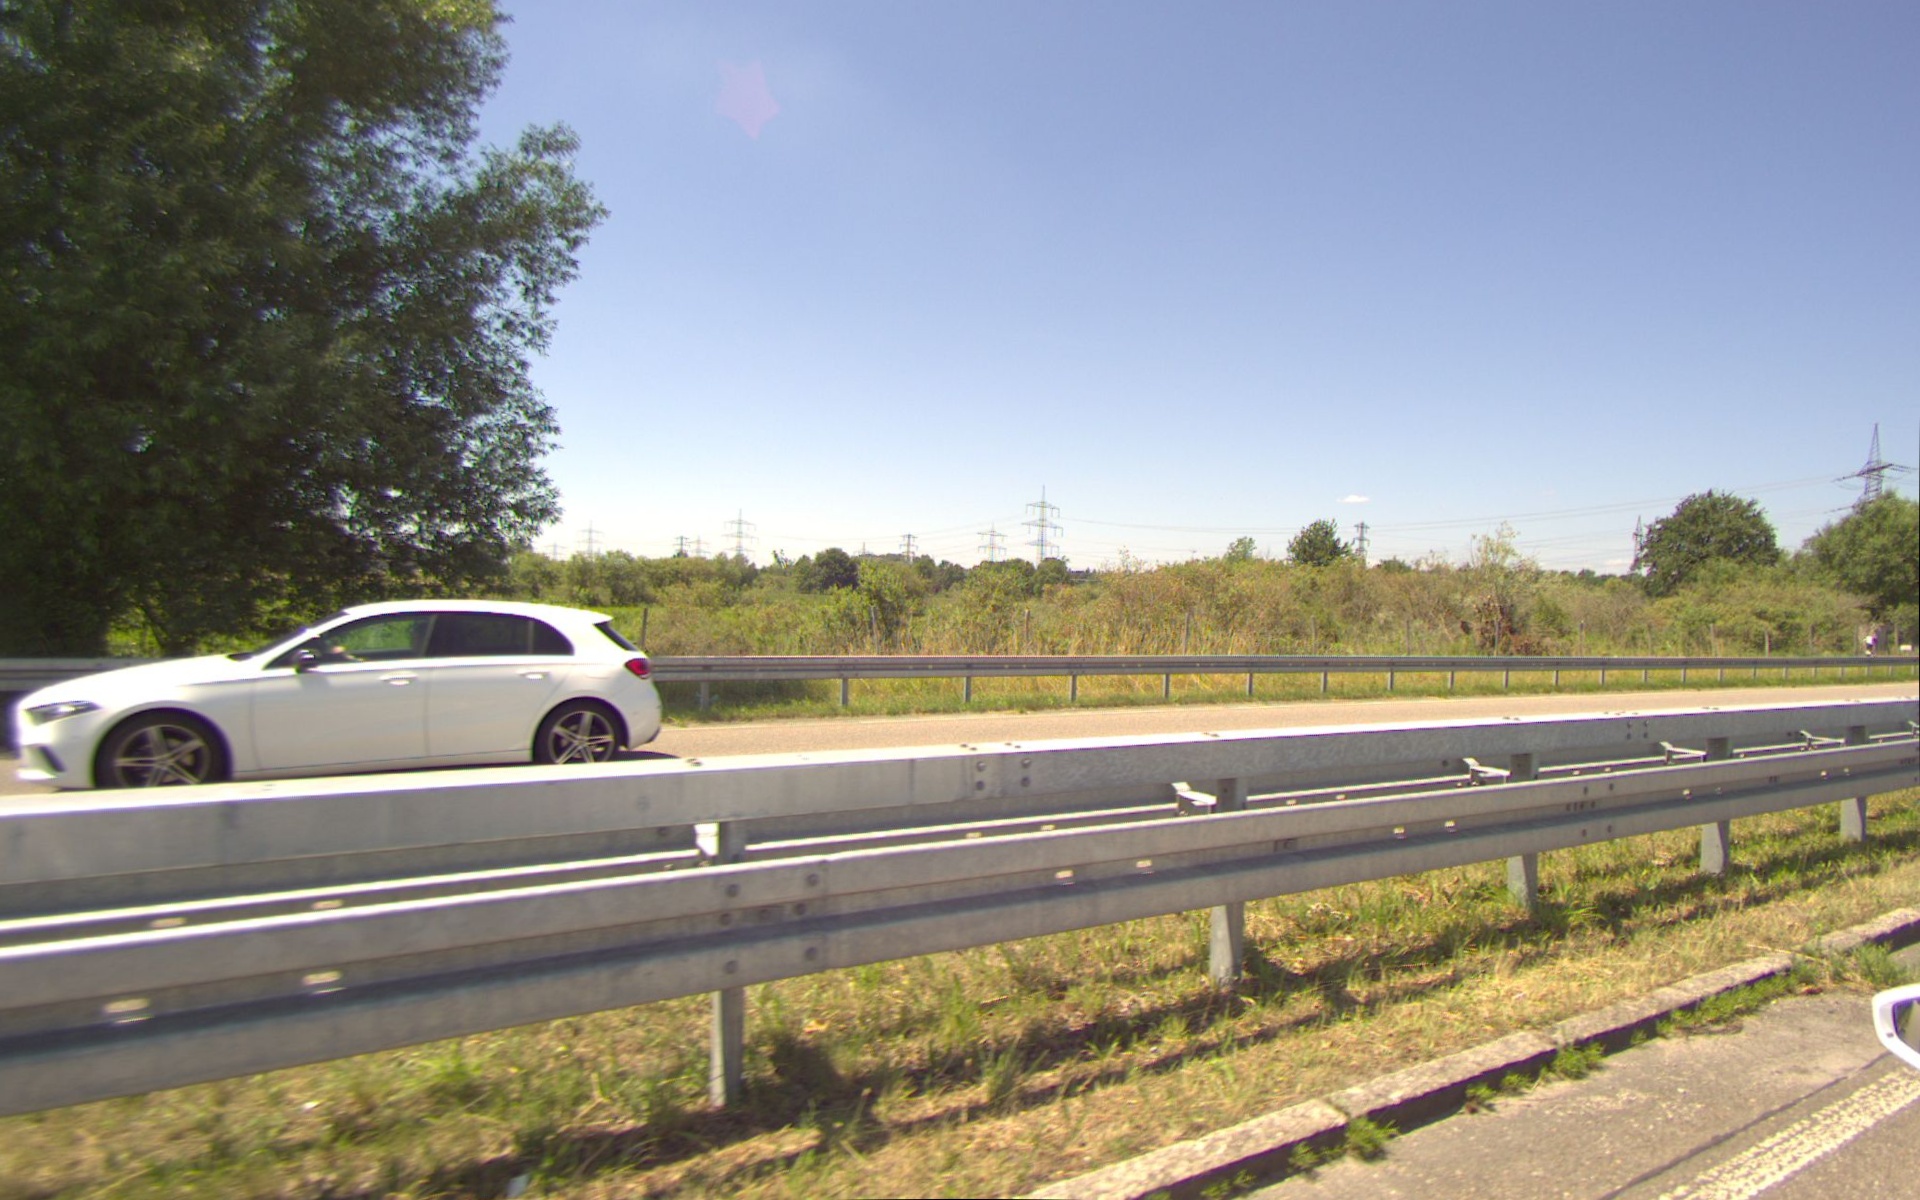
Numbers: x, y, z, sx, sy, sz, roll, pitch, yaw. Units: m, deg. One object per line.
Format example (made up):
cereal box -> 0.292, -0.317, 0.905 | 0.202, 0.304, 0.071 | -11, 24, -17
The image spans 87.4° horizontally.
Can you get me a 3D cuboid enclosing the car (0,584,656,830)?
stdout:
car -> -4.749, 0.717, 8.135 | 4.055, 1.518, 1.818 | 2, 1, -31
